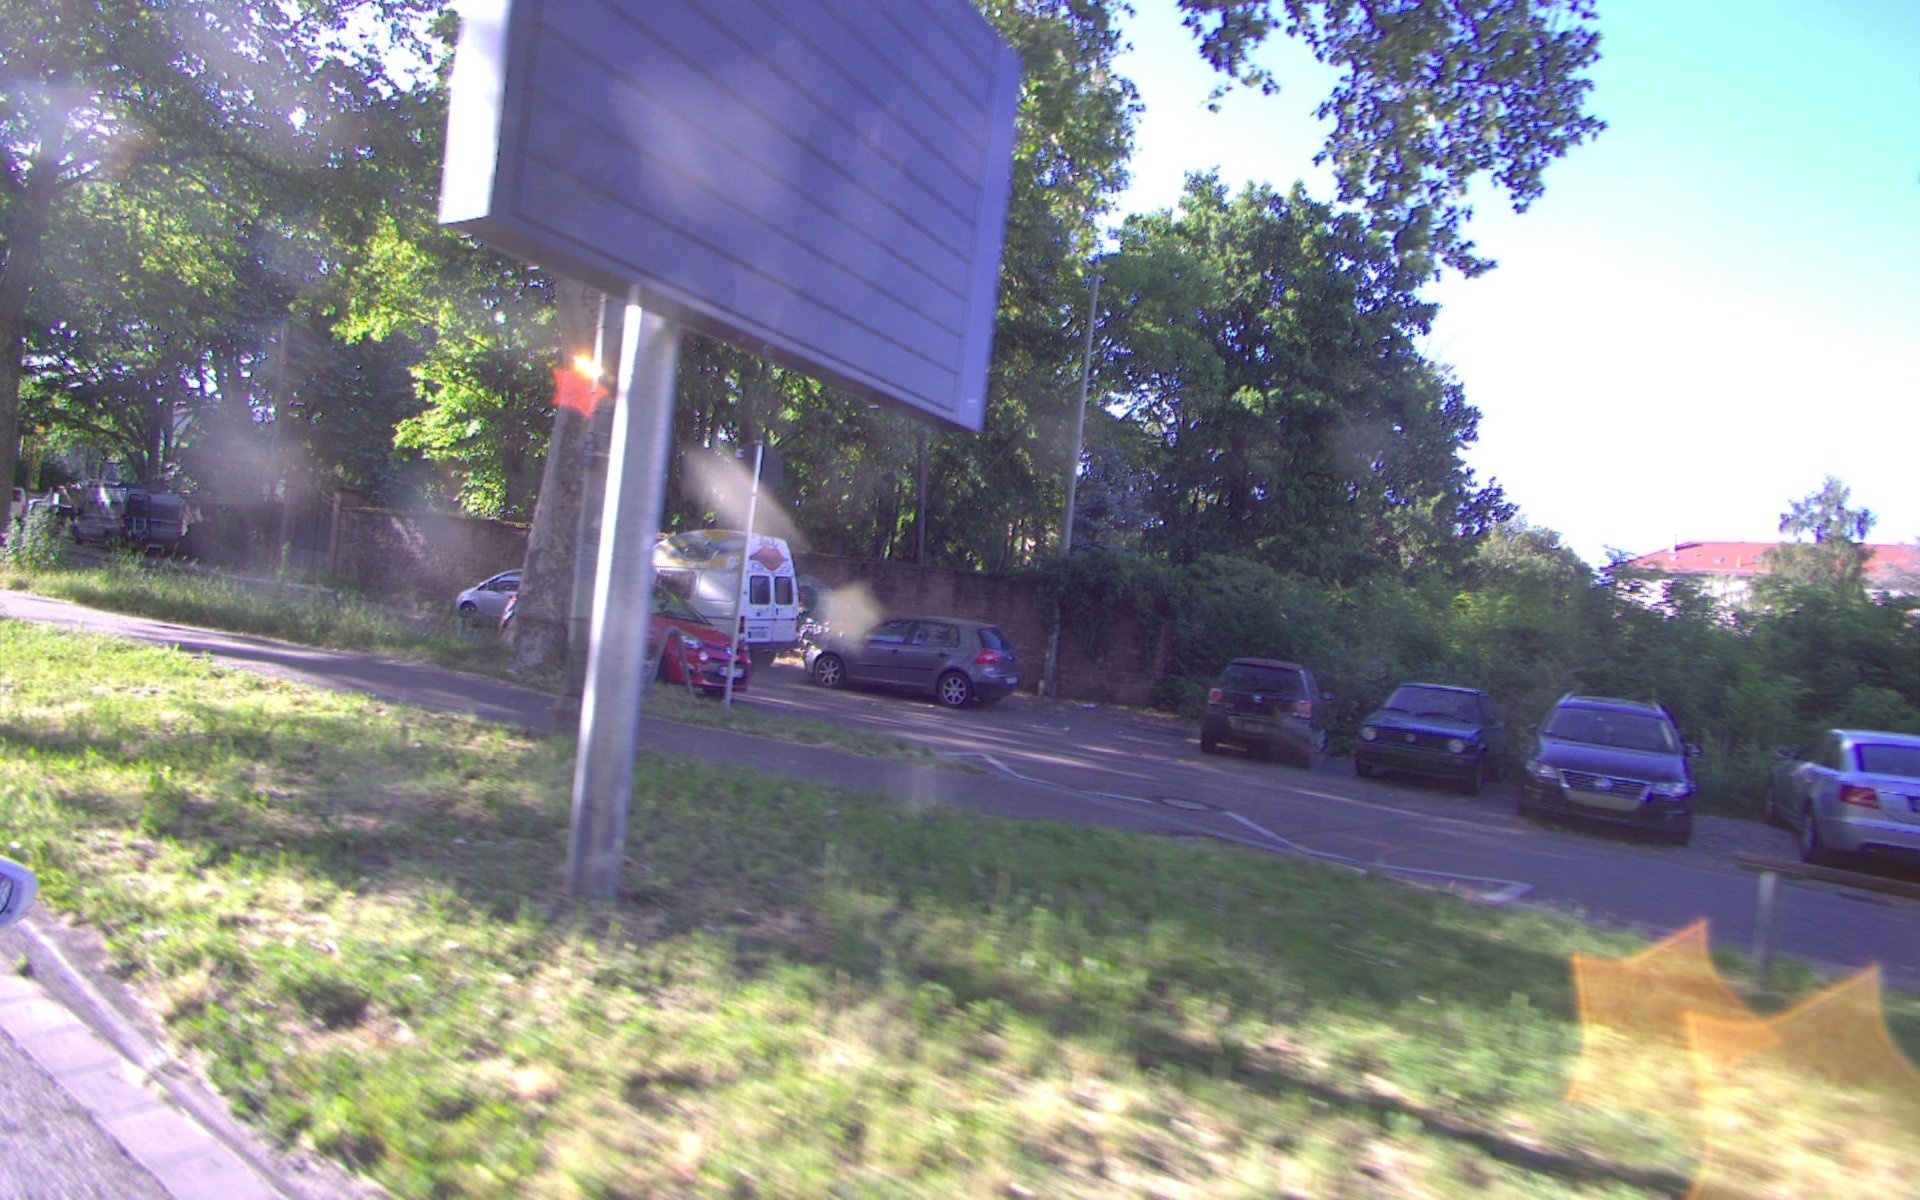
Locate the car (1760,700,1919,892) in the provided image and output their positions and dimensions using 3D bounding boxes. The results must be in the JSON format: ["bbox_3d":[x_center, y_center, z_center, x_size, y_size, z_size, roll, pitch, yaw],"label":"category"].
[{"bbox_3d":[10.694,2.160,11.488,1.968,1.430,4.376,7,3,34],"label":"car"}]

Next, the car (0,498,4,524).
[{"bbox_3d":[-27.191,-2.080,26.676,4.556,1.653,1.794,6,-2,37],"label":"car"}]

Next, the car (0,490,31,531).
[{"bbox_3d":[-52.563,-5.000,54.646,4.867,2.038,2.087,6,-1,37],"label":"car"}]

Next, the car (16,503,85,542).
[{"bbox_3d":[-42.100,-3.616,46.550,3.701,1.491,1.688,6,2,38],"label":"car"}]

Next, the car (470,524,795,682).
[{"bbox_3d":[-4.582,0.042,14.073,3.930,1.659,1.999,6,-2,27],"label":"car"}]

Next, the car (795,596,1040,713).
[{"bbox_3d":[-0.778,0.961,18.545,3.928,1.594,1.998,6,0,25],"label":"car"}]

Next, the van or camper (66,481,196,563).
[{"bbox_3d":[-33.805,-3.208,40.957,6.464,2.719,2.554,7,2,37],"label":"van or camper"}]

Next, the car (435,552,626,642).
[{"bbox_3d":[-10.173,-0.098,23.853,3.926,1.640,1.842,7,3,21],"label":"car"}]

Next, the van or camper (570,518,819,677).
[{"bbox_3d":[-5.620,-0.118,21.131,4.879,2.768,1.995,6,3,29],"label":"van or camper"}]

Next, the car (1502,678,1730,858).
[{"bbox_3d":[8.402,1.964,13.066,1.967,1.425,4.719,7,2,32],"label":"car"}]

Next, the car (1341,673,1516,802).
[{"bbox_3d":[7.007,1.894,14.840,1.594,1.410,3.986,6,1,34],"label":"car"}]

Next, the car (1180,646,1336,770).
[{"bbox_3d":[4.900,1.647,16.157,1.734,1.523,3.998,7,-1,24],"label":"car"}]
